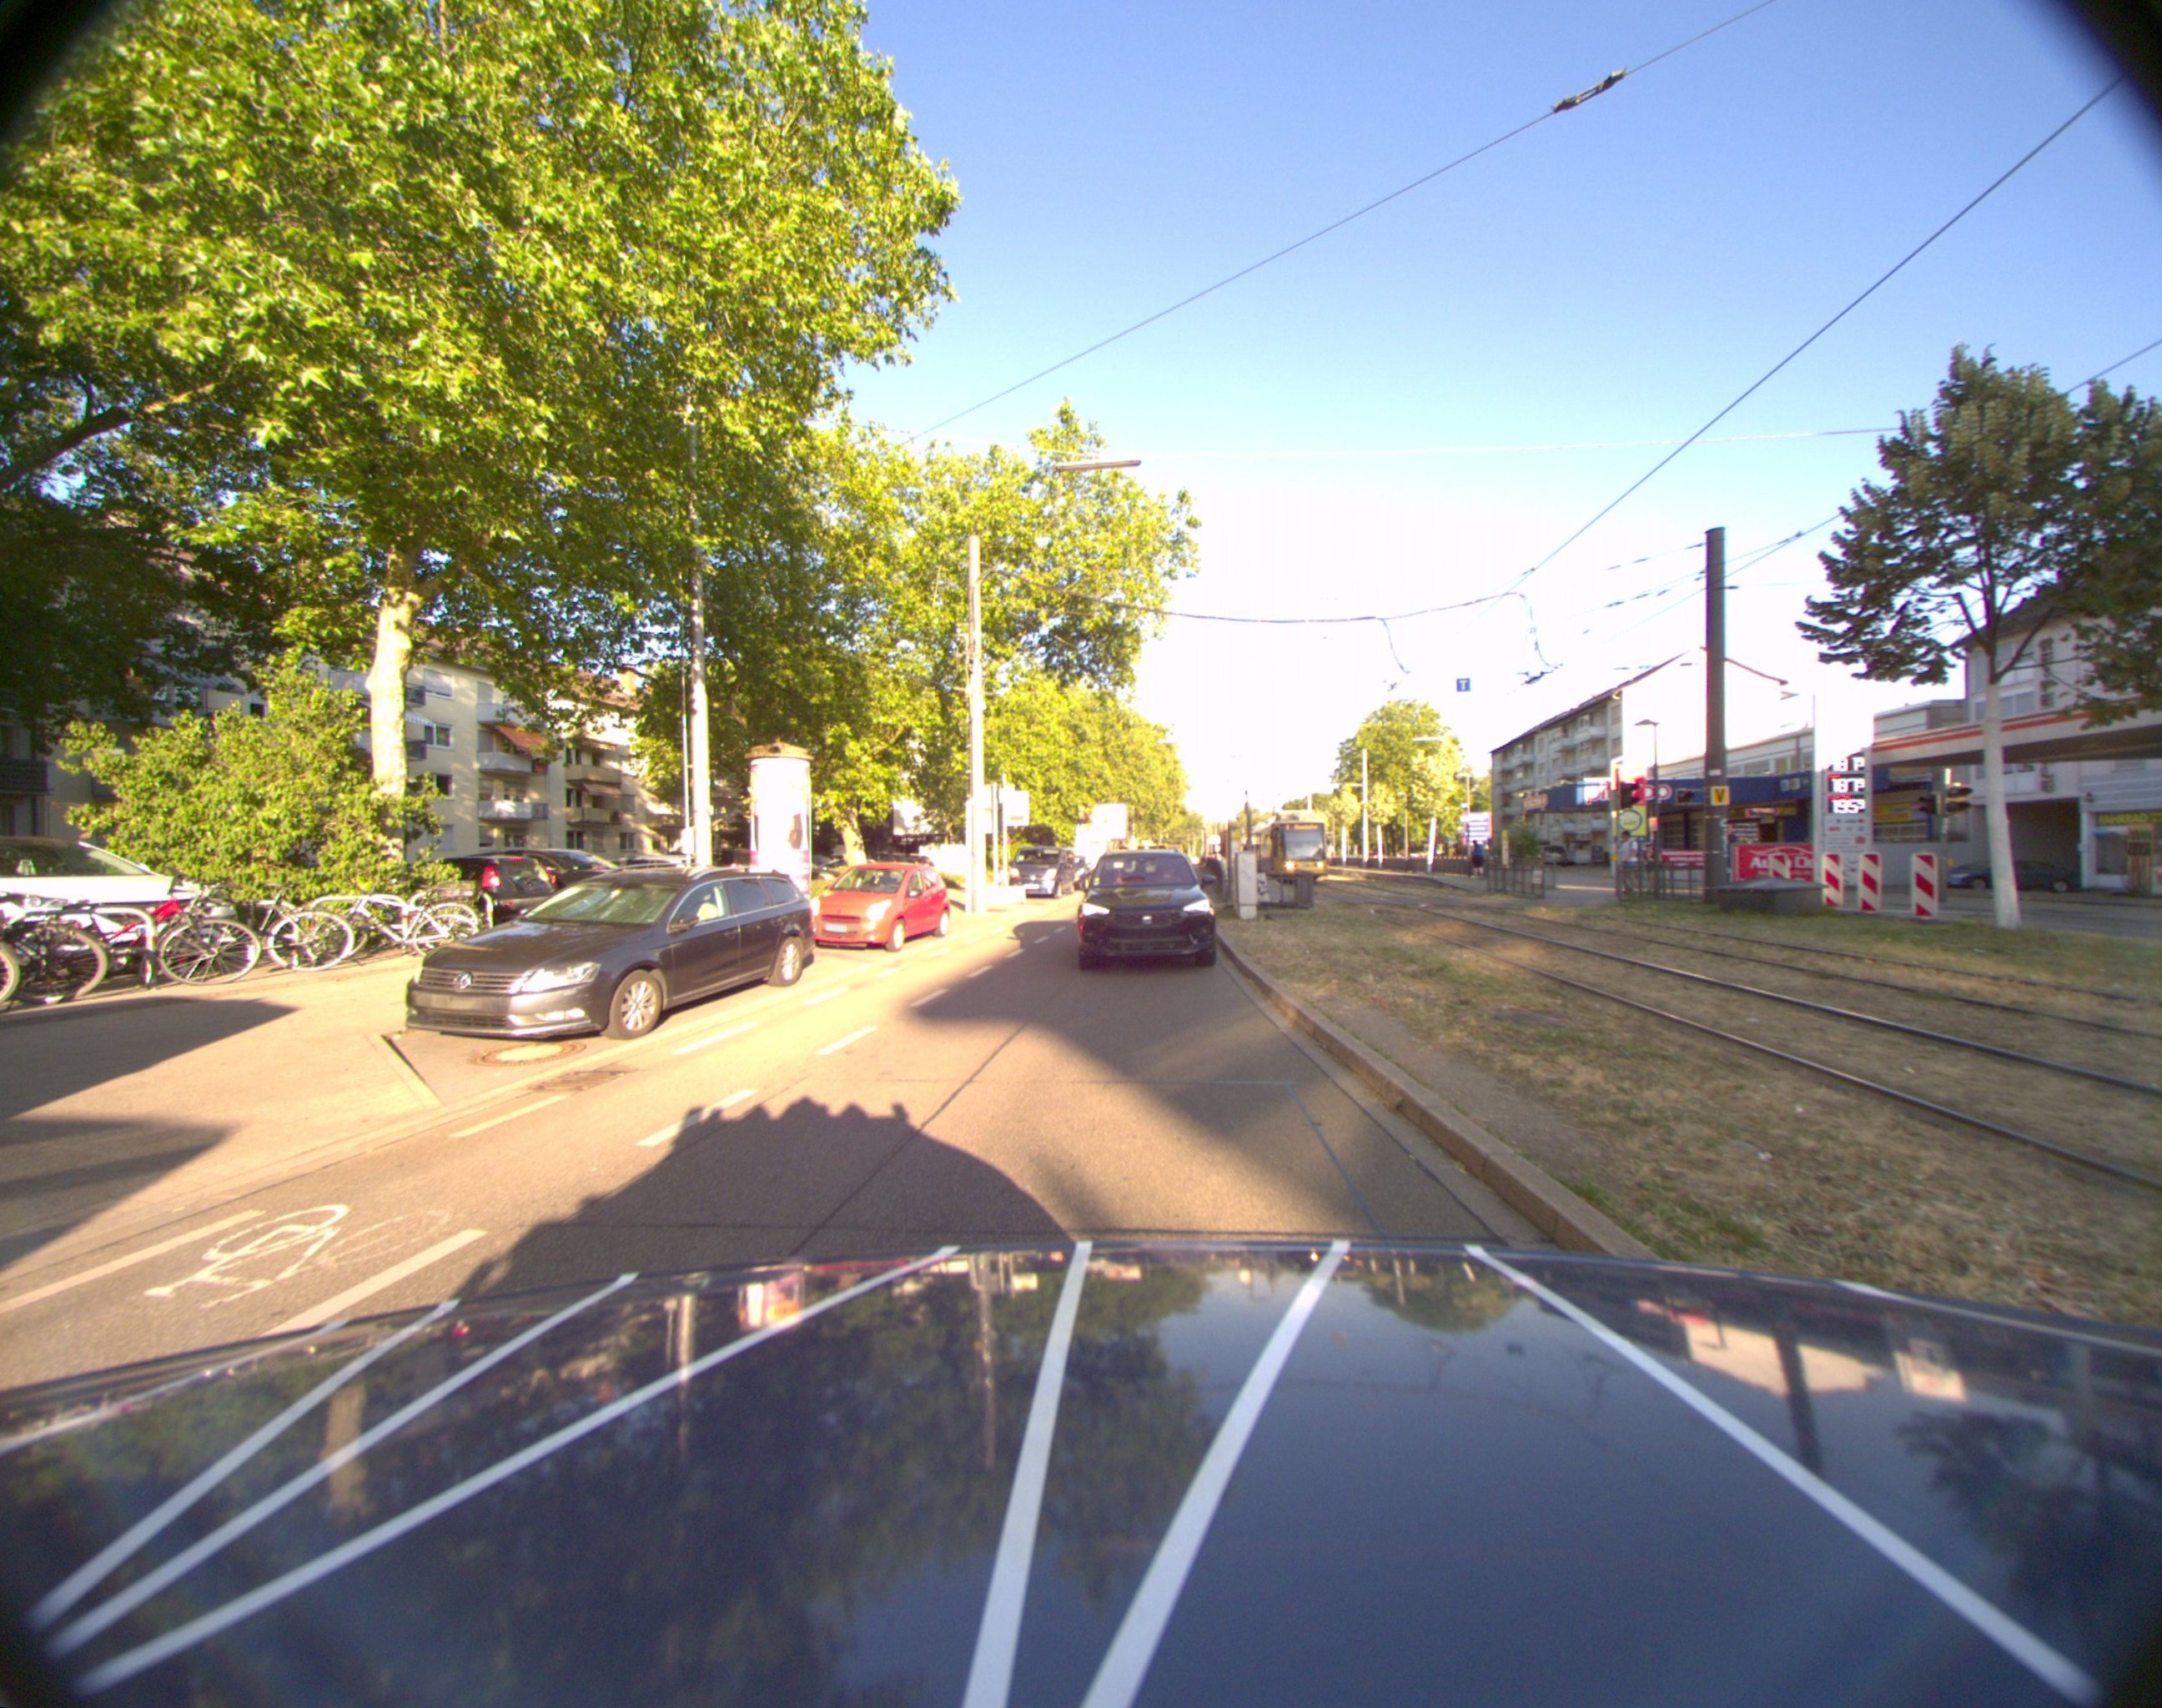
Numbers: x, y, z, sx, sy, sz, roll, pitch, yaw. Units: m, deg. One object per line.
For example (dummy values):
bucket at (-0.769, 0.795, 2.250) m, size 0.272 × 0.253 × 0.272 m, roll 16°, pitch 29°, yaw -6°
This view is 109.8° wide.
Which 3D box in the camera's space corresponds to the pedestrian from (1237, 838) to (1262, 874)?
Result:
pedestrian at (7.548, 0.081, 34.013) m, size 0.918 × 1.541 × 0.789 m, roll -2°, pitch 1°, yaw 1°

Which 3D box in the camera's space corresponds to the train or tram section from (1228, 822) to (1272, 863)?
train or tram section at (15.266, -1.071, 69.420) m, size 3.041 × 3.497 × 10.101 m, roll 0°, pitch 1°, yaw 8°

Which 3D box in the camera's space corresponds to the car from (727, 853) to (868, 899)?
car at (-9.590, 0.729, 25.825) m, size 4.119 × 1.486 × 1.804 m, roll 0°, pitch 0°, yaw 10°

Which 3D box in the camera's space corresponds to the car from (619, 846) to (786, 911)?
car at (-10.735, 0.680, 21.695) m, size 3.847 × 1.622 × 1.858 m, roll -2°, pitch 0°, yaw 10°

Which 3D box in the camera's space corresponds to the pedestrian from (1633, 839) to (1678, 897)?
pedestrian at (17.454, 0.411, 23.099) m, size 0.754 × 1.737 × 0.861 m, roll 0°, pitch 1°, yaw 6°

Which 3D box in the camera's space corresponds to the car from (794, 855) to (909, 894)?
car at (-9.314, 0.819, 30.986) m, size 4.119 × 1.486 × 1.804 m, roll 0°, pitch 0°, yaw 10°

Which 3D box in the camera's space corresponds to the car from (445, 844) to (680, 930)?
car at (-11.411, 0.710, 16.875) m, size 4.029 × 1.591 × 1.857 m, roll -3°, pitch 0°, yaw 8°

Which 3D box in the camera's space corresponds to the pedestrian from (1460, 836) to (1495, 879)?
pedestrian at (15.998, 0.141, 30.707) m, size 0.936 × 1.644 × 0.926 m, roll -3°, pitch 0°, yaw 9°

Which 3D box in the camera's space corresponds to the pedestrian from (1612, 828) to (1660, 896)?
pedestrian at (16.016, 0.237, 21.953) m, size 0.859 × 1.921 × 0.756 m, roll 0°, pitch 1°, yaw 7°

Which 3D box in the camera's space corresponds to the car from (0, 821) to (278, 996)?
car at (-12.415, 0.654, 8.731) m, size 4.627 × 1.699 × 2.001 m, roll -3°, pitch 0°, yaw 8°

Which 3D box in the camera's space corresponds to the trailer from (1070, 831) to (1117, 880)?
trailer at (0.761, 0.053, 42.282) m, size 1.888 × 2.573 × 4.654 m, roll -1°, pitch 0°, yaw 9°

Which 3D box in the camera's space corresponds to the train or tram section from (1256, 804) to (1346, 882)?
train or tram section at (11.088, -0.575, 39.401) m, size 3.041 × 3.497 × 10.101 m, roll 0°, pitch 1°, yaw 8°

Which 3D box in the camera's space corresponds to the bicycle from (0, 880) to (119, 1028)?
bicycle at (-9.405, 0.851, 6.416) m, size 1.523 × 1.219 × 0.402 m, roll -1°, pitch 1°, yaw -31°

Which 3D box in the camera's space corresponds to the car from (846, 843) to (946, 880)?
car at (-8.718, 0.351, 35.893) m, size 4.119 × 1.541 × 1.804 m, roll -3°, pitch 0°, yaw 10°

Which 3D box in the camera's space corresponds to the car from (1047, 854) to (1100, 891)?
car at (-0.301, 0.812, 35.464) m, size 1.799 × 1.621 × 4.003 m, roll 0°, pitch 0°, yaw 9°

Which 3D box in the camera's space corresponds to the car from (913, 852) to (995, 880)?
car at (-7.316, 0.684, 44.029) m, size 4.290 × 1.487 × 2.001 m, roll -1°, pitch 0°, yaw 5°

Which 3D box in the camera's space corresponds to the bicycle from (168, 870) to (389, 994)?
bicycle at (-8.820, 0.804, 8.454) m, size 1.586 × 1.219 × 0.646 m, roll -1°, pitch 1°, yaw -38°

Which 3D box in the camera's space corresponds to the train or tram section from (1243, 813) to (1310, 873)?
train or tram section at (12.481, -0.744, 49.397) m, size 3.041 × 3.497 × 10.101 m, roll 0°, pitch 1°, yaw 8°

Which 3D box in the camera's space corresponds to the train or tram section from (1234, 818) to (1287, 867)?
train or tram section at (13.864, -0.910, 59.421) m, size 3.041 × 3.497 × 10.101 m, roll 0°, pitch 1°, yaw 8°

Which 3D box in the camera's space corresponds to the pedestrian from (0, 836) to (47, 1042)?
pedestrian at (-8.892, 0.664, 5.771) m, size 0.660 × 1.627 × 0.990 m, roll 3°, pitch 0°, yaw 2°

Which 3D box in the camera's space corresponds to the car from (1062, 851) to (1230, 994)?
car at (0.929, 0.813, 11.009) m, size 1.910 × 1.606 × 4.087 m, roll -3°, pitch 0°, yaw 5°

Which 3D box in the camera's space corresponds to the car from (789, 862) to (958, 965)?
car at (-3.583, 0.951, 13.785) m, size 1.572 × 1.486 × 3.628 m, roll 2°, pitch 1°, yaw 9°

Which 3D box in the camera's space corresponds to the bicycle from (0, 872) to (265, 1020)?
bicycle at (-9.150, 0.829, 7.318) m, size 1.585 × 1.219 × 0.650 m, roll -3°, pitch 1°, yaw -29°

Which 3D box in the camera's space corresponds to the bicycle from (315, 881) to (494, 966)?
bicycle at (-9.034, 0.901, 10.235) m, size 1.682 × 1.008 × 0.650 m, roll -1°, pitch 1°, yaw -29°

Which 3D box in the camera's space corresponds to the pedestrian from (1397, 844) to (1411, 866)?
pedestrian at (28.058, 0.103, 66.022) m, size 0.754 × 1.871 × 1.001 m, roll -3°, pitch 0°, yaw 8°

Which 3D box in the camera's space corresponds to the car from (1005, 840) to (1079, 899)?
car at (-1.400, 0.542, 29.153) m, size 1.888 × 2.066 × 4.566 m, roll -1°, pitch 0°, yaw 9°

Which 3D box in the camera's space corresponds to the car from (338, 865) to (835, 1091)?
car at (-4.541, 0.951, 8.055) m, size 1.699 × 1.522 × 4.655 m, roll 2°, pitch 1°, yaw 9°

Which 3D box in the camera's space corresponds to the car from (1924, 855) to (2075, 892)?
car at (39.304, 0.825, 32.618) m, size 3.801 × 1.514 × 1.819 m, roll 0°, pitch 0°, yaw 12°

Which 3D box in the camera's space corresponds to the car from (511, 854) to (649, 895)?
car at (-20.015, 0.814, 30.464) m, size 4.290 × 1.526 × 2.001 m, roll -1°, pitch 0°, yaw 5°

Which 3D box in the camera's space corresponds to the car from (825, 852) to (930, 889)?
car at (-8.983, 0.704, 33.720) m, size 4.119 × 1.590 × 1.804 m, roll 0°, pitch 0°, yaw 10°

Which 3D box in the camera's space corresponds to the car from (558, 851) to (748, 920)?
car at (-10.892, 0.775, 19.452) m, size 3.847 × 1.486 × 1.858 m, roll -3°, pitch 0°, yaw 10°

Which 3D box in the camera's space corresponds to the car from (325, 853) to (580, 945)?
car at (-11.874, 0.819, 14.493) m, size 3.504 × 1.474 × 1.775 m, roll -3°, pitch 0°, yaw 8°

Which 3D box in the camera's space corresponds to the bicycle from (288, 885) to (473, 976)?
bicycle at (-8.718, 0.920, 9.547) m, size 1.585 × 1.008 × 0.650 m, roll -1°, pitch 1°, yaw -29°
